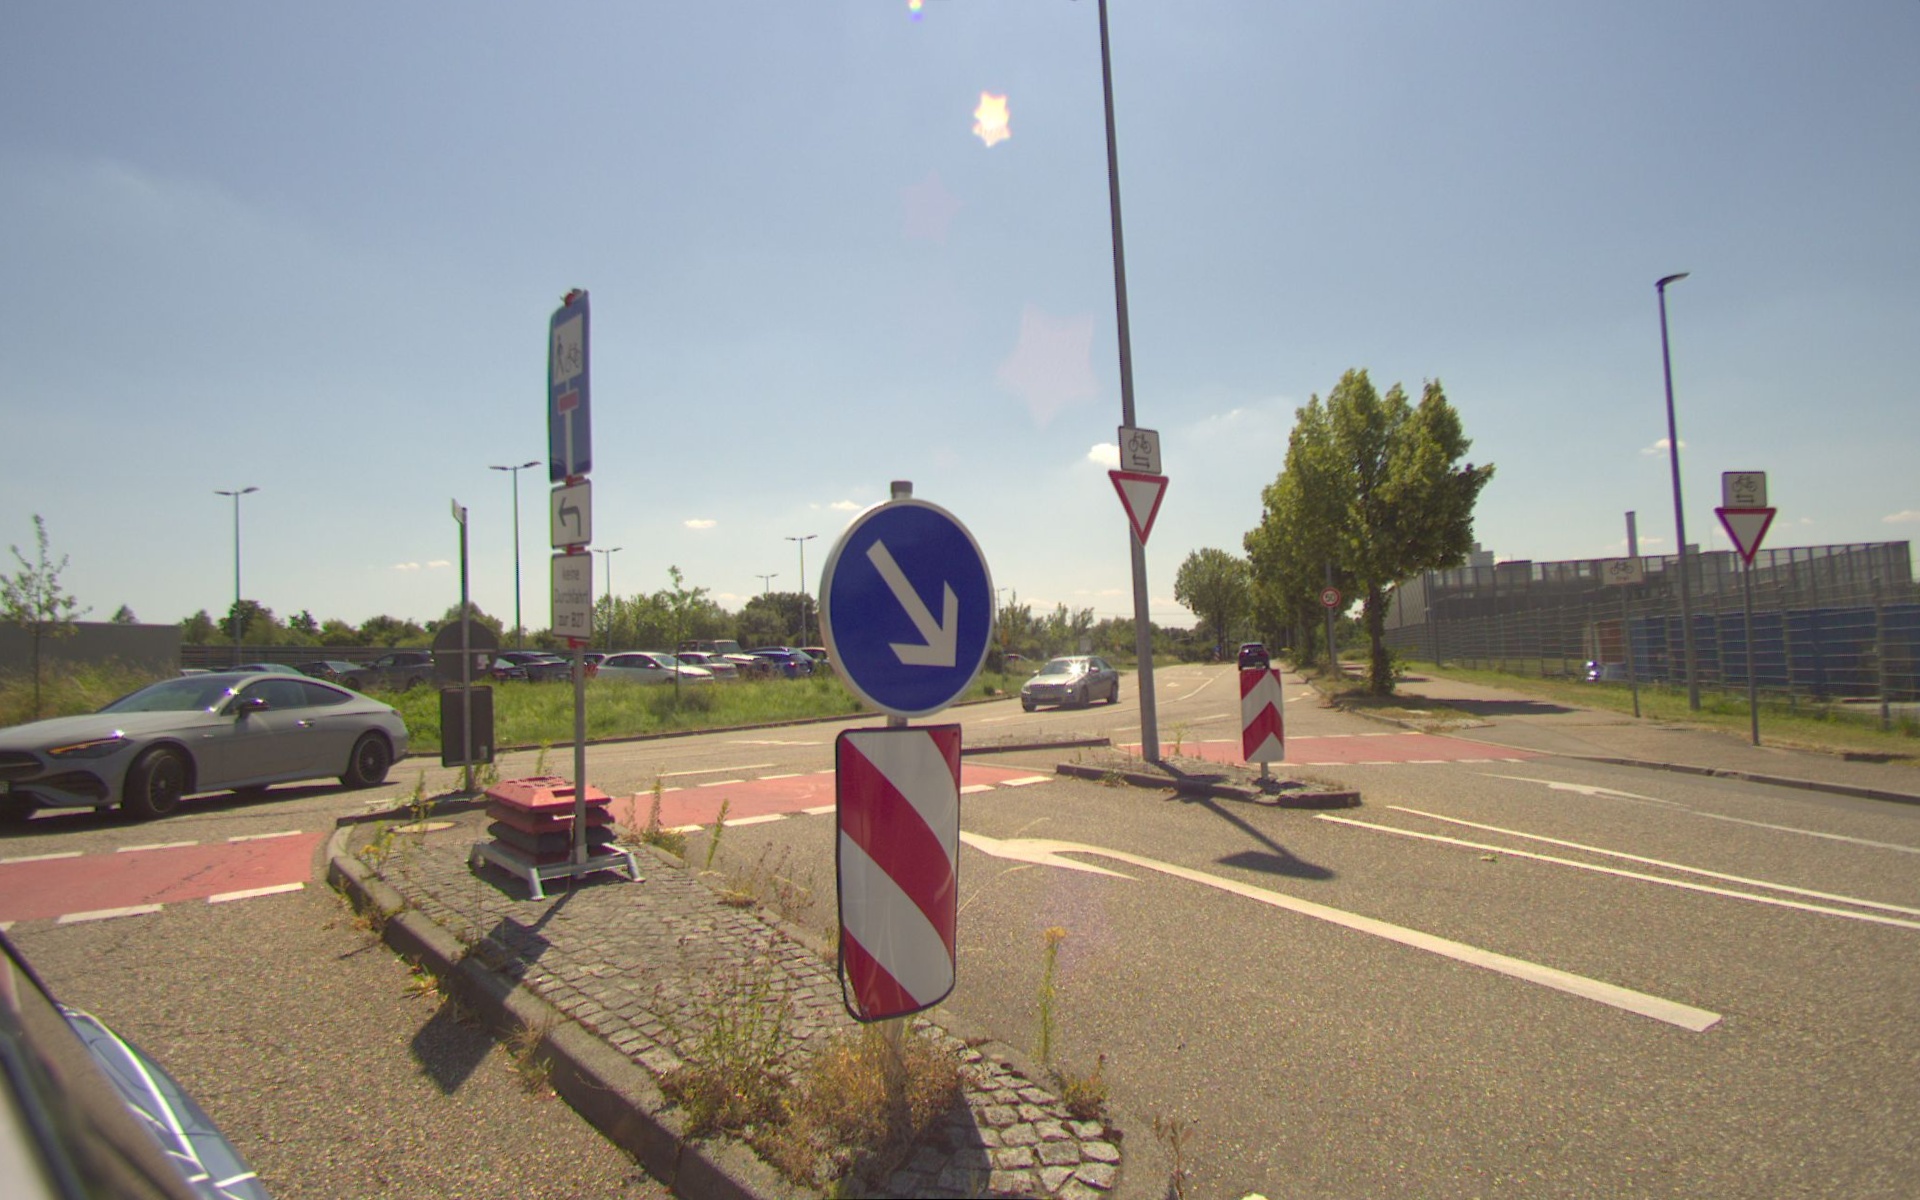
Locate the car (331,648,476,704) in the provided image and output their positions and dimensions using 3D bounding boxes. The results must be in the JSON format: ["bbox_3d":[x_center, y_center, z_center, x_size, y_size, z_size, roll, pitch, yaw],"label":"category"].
[{"bbox_3d":[-19.615,2.700,35.724,4.562,1.703,1.768,-4,-5,15],"label":"car"}]

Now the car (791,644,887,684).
[{"bbox_3d":[-5.262,2.772,44.085,3.813,1.636,1.610,-2,-3,14],"label":"car"}]

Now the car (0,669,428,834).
[{"bbox_3d":[-8.243,1.514,11.054,1.878,1.394,4.617,-3,-5,10],"label":"car"}]

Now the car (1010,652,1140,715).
[{"bbox_3d":[3.318,2.305,28.458,1.670,1.385,4.444,-8,-5,34],"label":"car"}]

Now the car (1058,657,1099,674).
[{"bbox_3d":[12.098,6.690,103.263,3.960,1.361,1.640,-5,-4,13],"label":"car"}]

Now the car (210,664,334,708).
[{"bbox_3d":[-24.966,3.105,36.764,3.599,1.457,1.648,-2,-4,9],"label":"car"}]

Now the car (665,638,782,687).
[{"bbox_3d":[-8.569,2.273,36.740,3.722,1.539,1.863,-4,-2,22],"label":"car"}]

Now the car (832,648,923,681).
[{"bbox_3d":[-4.049,3.153,49.624,3.967,1.301,1.897,-6,-4,18],"label":"car"}]

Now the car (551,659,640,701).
[{"bbox_3d":[-16.200,3.549,44.996,3.386,1.586,1.515,-5,-4,13],"label":"car"}]

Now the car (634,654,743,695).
[{"bbox_3d":[-9.166,2.498,34.181,3.242,1.191,1.493,-4,-2,17],"label":"car"}]

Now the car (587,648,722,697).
[{"bbox_3d":[-9.550,2.251,31.663,3.845,1.307,1.565,-4,-2,18],"label":"car"}]

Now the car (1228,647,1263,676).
[{"bbox_3d":[17.619,3.768,62.412,1.854,1.647,4.572,-5,-4,17],"label":"car"}]

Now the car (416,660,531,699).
[{"bbox_3d":[-18.370,2.991,38.241,3.813,1.373,1.644,-2,-3,15],"label":"car"}]

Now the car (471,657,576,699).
[{"bbox_3d":[-17.578,3.146,40.771,3.606,1.610,1.760,-2,-3,15],"label":"car"}]

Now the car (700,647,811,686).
[{"bbox_3d":[-7.950,2.586,39.341,3.909,1.267,1.578,-3,-2,14],"label":"car"}]
